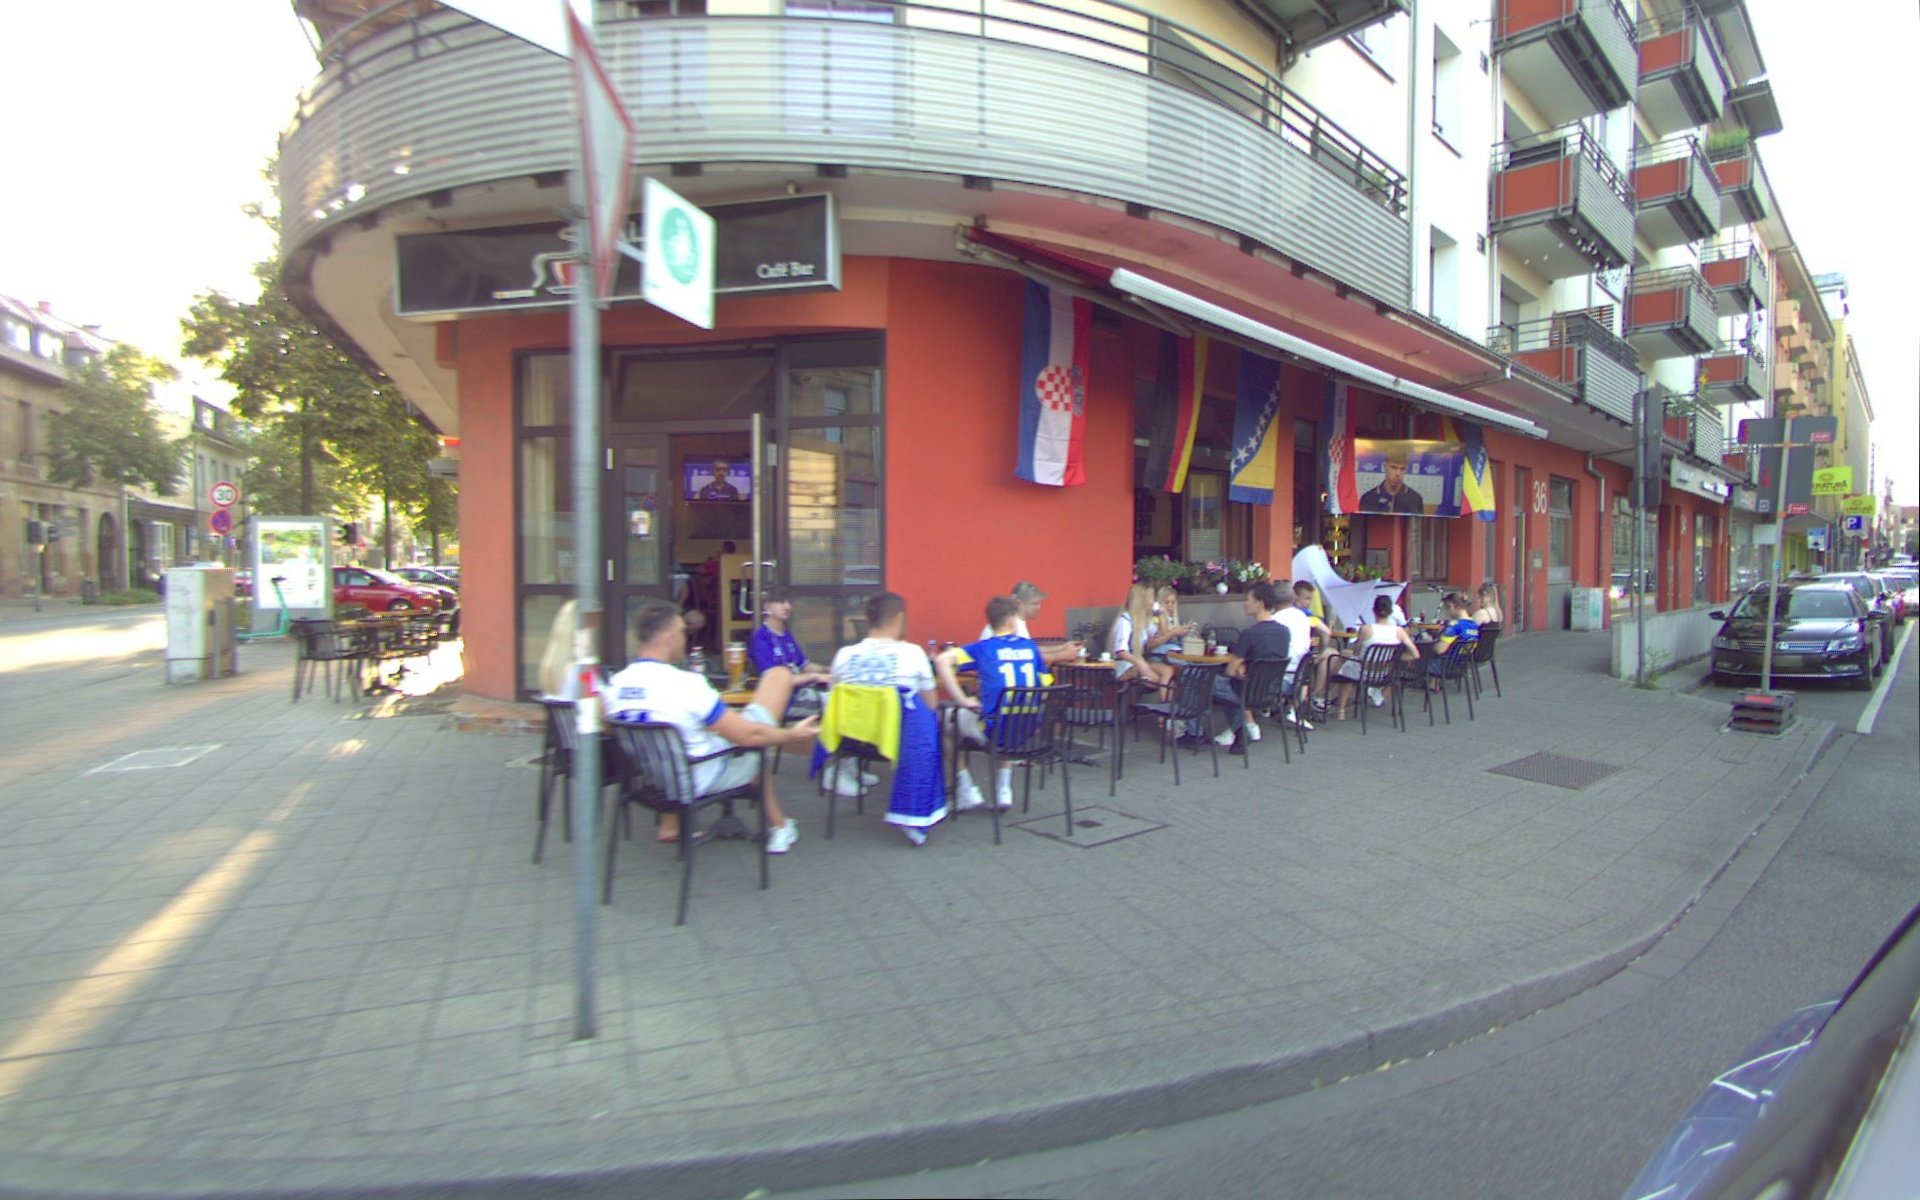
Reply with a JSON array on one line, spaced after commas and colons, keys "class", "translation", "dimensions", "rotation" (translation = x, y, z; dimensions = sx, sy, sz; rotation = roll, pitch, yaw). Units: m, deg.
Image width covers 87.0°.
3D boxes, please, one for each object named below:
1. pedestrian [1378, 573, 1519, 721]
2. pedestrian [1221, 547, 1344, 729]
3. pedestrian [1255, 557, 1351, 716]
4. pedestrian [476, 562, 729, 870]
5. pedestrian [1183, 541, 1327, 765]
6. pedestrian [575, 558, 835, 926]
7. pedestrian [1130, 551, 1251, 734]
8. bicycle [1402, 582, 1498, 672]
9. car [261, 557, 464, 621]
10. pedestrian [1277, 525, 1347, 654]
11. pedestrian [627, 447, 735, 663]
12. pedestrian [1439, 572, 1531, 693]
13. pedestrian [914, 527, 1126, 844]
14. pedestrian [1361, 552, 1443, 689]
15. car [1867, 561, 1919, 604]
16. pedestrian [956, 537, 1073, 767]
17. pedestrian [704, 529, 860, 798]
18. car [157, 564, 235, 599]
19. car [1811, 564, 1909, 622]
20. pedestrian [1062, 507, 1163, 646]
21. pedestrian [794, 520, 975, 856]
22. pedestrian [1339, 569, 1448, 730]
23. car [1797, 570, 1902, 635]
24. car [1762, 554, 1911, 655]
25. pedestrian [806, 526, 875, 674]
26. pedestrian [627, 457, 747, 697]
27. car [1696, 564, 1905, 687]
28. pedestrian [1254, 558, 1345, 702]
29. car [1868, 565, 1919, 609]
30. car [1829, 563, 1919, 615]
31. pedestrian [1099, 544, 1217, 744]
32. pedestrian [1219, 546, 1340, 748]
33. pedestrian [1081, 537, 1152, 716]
[{"class": "pedestrian", "translation": [4.734, 0.420, 9.842], "dimensions": [0.835, 1.321, 0.880], "rotation": [-1, 3, -25]}, {"class": "pedestrian", "translation": [2.920, 0.317, 9.166], "dimensions": [0.849, 1.555, 0.669], "rotation": [0, 0, 42]}, {"class": "pedestrian", "translation": [3.288, 0.320, 9.711], "dimensions": [0.665, 1.451, 0.552], "rotation": [4, 3, 42]}, {"class": "pedestrian", "translation": [-1.685, 0.480, 4.901], "dimensions": [0.677, 1.297, 0.962], "rotation": [0, 3, 20]}, {"class": "pedestrian", "translation": [2.235, 0.356, 7.666], "dimensions": [0.712, 1.554, 0.748], "rotation": [6, 5, 41]}, {"class": "pedestrian", "translation": [-1.070, 0.526, 4.391], "dimensions": [0.761, 1.399, 0.834], "rotation": [1, 3, 19]}, {"class": "pedestrian", "translation": [2.045, 0.336, 8.974], "dimensions": [0.767, 1.522, 0.771], "rotation": [1, 2, 43]}, {"class": "bicycle", "translation": [6.564, 0.321, 13.517], "dimensions": [0.548, 1.101, 1.974], "rotation": [-1, 1, 44]}, {"class": "car", "translation": [-15.480, -0.334, 26.522], "dimensions": [4.352, 1.560, 1.821], "rotation": [-1, 2, -23]}, {"class": "pedestrian", "translation": [4.929, -0.155, 14.170], "dimensions": [0.716, 1.742, 0.658], "rotation": [1, 1, 44]}, {"class": "pedestrian", "translation": [-2.805, -0.440, 10.141], "dimensions": [0.845, 2.039, 0.815], "rotation": [-1, 1, -30]}, {"class": "pedestrian", "translation": [6.004, 0.347, 11.618], "dimensions": [0.843, 1.293, 0.709], "rotation": [1, 4, 23]}, {"class": "pedestrian", "translation": [0.329, 0.404, 5.568], "dimensions": [0.839, 1.554, 0.713], "rotation": [-1, 6, -44]}, {"class": "pedestrian", "translation": [5.212, 0.226, 11.962], "dimensions": [0.843, 1.555, 0.709], "rotation": [-1, 0, 23]}, {"class": "car", "translation": [37.559, -0.716, 40.039], "dimensions": [4.291, 1.636, 1.997], "rotation": [-2, 1, -41]}, {"class": "pedestrian", "translation": [0.376, 0.342, 7.301], "dimensions": [0.635, 1.555, 0.754], "rotation": [-1, 0, -13]}, {"class": "pedestrian", "translation": [-1.087, 0.364, 6.337], "dimensions": [0.703, 1.555, 0.850], "rotation": [-1, 0, 10]}, {"class": "car", "translation": [-35.961, -0.899, 47.752], "dimensions": [1.958, 1.571, 4.009], "rotation": [-1, 2, -22]}, {"class": "car", "translation": [24.873, -0.217, 27.929], "dimensions": [3.884, 1.495, 1.764], "rotation": [-2, 1, -45]}, {"class": "pedestrian", "translation": [2.313, -0.365, 15.479], "dimensions": [1.126, 2.039, 1.155], "rotation": [-1, 1, -16]}, {"class": "pedestrian", "translation": [-0.402, 0.394, 5.152], "dimensions": [0.675, 1.555, 0.716], "rotation": [0, 2, -28]}, {"class": "pedestrian", "translation": [3.932, 0.416, 9.184], "dimensions": [0.653, 1.361, 0.738], "rotation": [4, 4, 42]}, {"class": "car", "translation": [21.199, 0.003, 24.109], "dimensions": [1.747, 1.421, 3.907], "rotation": [0, 1, 42]}, {"class": "car", "translation": [16.819, 0.031, 19.359], "dimensions": [1.879, 1.721, 4.071], "rotation": [0, 1, 45]}, {"class": "pedestrian", "translation": [-1.506, -0.009, 12.758], "dimensions": [0.610, 1.799, 0.608], "rotation": [1, 1, 43]}, {"class": "pedestrian", "translation": [-2.489, -0.213, 9.192], "dimensions": [0.838, 2.038, 0.913], "rotation": [-1, 1, -31]}, {"class": "car", "translation": [12.726, 0.277, 15.214], "dimensions": [4.554, 1.571, 1.875], "rotation": [-2, 1, -43]}, {"class": "pedestrian", "translation": [3.551, 0.292, 10.594], "dimensions": [0.712, 1.439, 0.592], "rotation": [0, 0, 44]}, {"class": "car", "translation": [33.715, -0.483, 35.907], "dimensions": [4.229, 1.495, 1.894], "rotation": [-2, 1, -43]}, {"class": "car", "translation": [28.048, -0.361, 30.914], "dimensions": [4.321, 1.495, 1.863], "rotation": [-2, 1, -43]}, {"class": "pedestrian", "translation": [1.646, 0.331, 8.402], "dimensions": [0.673, 1.554, 0.645], "rotation": [4, 4, 42]}, {"class": "pedestrian", "translation": [2.632, 0.351, 8.340], "dimensions": [0.648, 1.545, 0.690], "rotation": [6, 4, 41]}, {"class": "pedestrian", "translation": [1.633, 0.254, 10.543], "dimensions": [0.536, 1.799, 0.514], "rotation": [0, 1, 42]}]
